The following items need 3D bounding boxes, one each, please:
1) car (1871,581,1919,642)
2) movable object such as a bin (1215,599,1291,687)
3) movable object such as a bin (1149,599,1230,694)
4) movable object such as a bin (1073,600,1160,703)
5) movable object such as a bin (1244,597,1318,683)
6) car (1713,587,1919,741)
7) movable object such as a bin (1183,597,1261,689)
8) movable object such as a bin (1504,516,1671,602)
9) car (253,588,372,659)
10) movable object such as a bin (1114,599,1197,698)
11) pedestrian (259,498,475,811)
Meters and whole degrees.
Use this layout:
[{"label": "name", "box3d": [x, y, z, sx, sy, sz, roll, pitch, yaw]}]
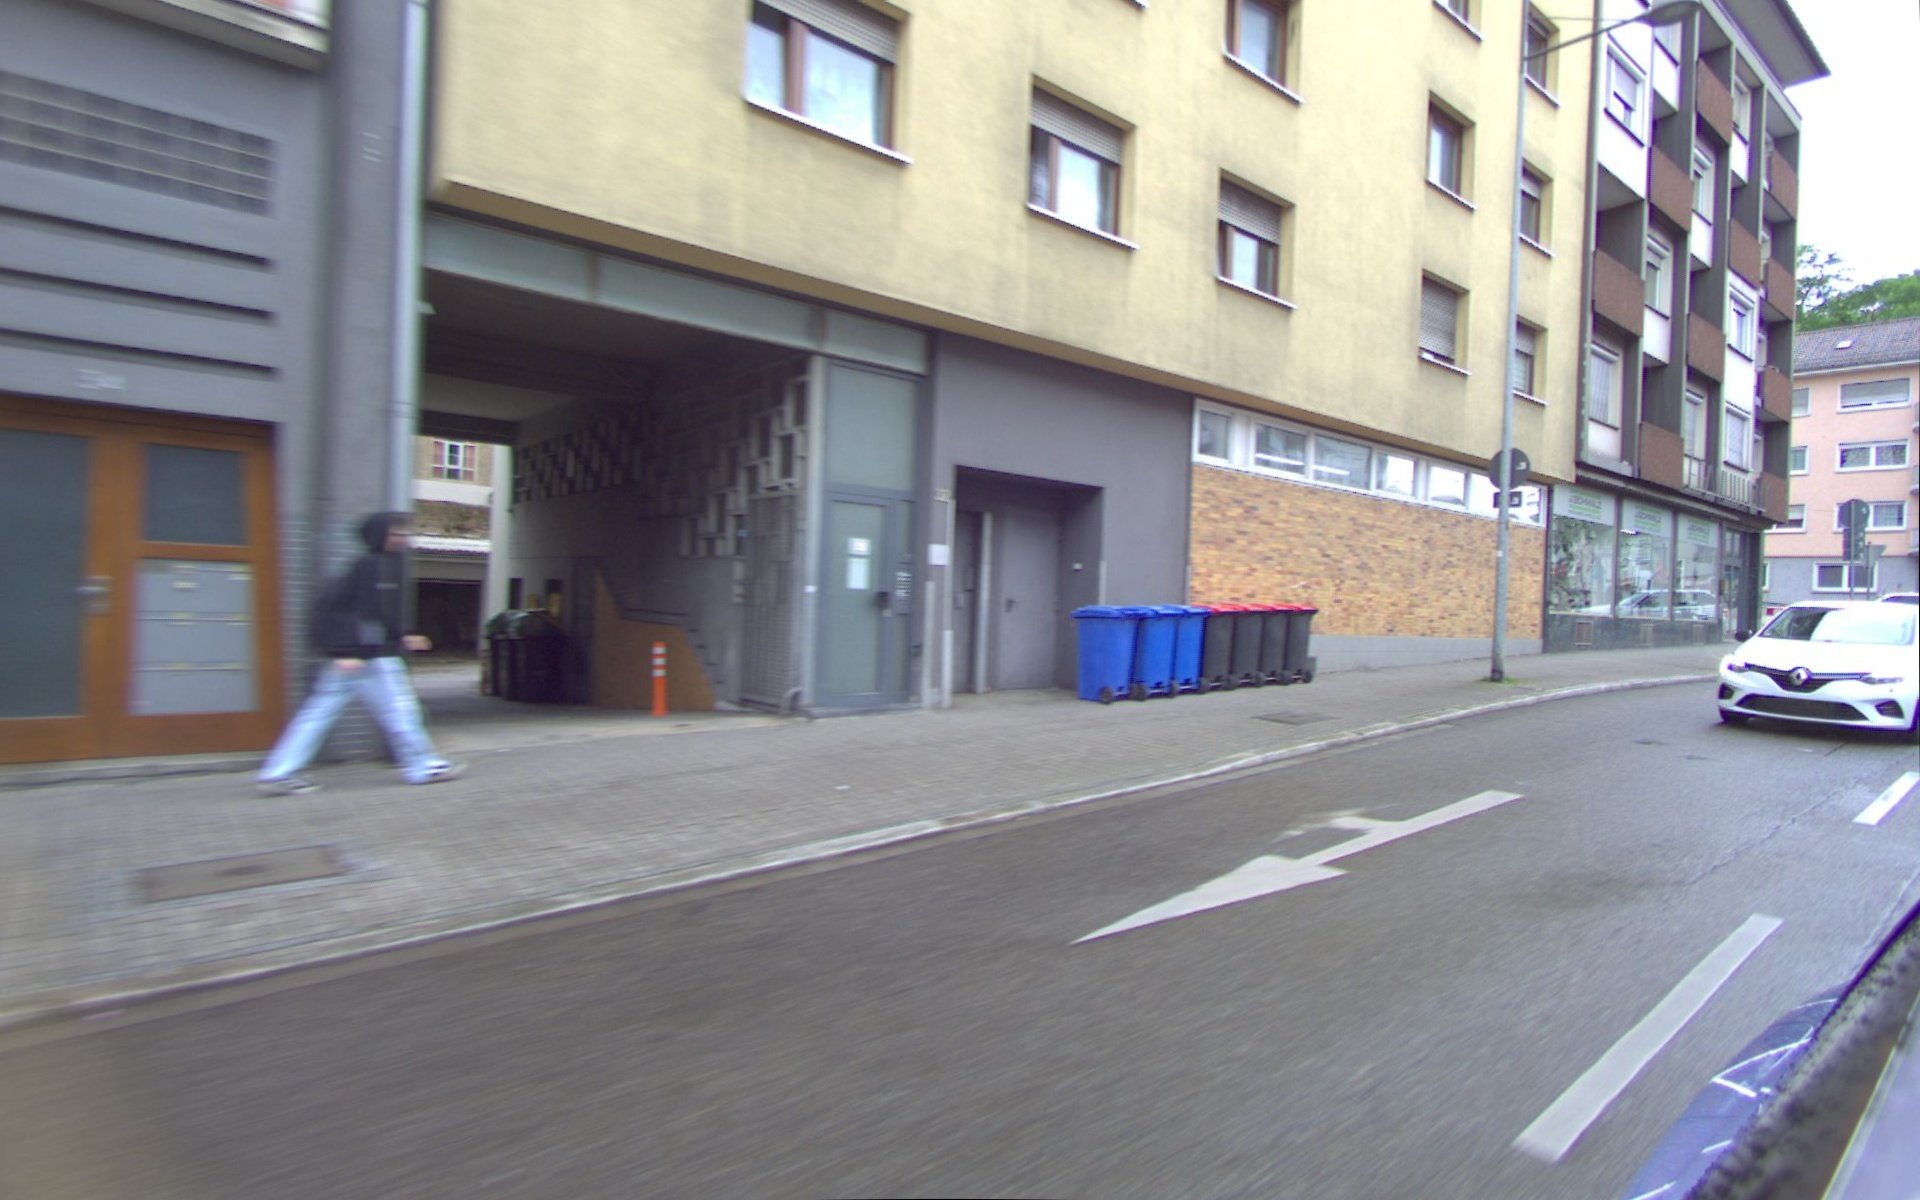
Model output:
[{"label": "car", "box3d": [29.033, 0.453, 28.711, 1.963, 1.741, 4.798, 3, 3, 2]}, {"label": "movable object such as a bin", "box3d": [3.813, 0.541, 13.183, 0.656, 1.090, 0.682, 1, 1, -41]}, {"label": "movable object such as a bin", "box3d": [2.794, 0.547, 12.305, 0.656, 1.090, 0.682, 1, 1, -41]}, {"label": "movable object such as a bin", "box3d": [1.761, 0.555, 11.417, 0.656, 1.090, 0.682, 1, 1, -41]}, {"label": "movable object such as a bin", "box3d": [4.320, 0.520, 13.630, 0.656, 1.090, 0.682, 1, 1, -41]}, {"label": "car", "box3d": [10.397, 0.633, 11.577, 3.924, 1.420, 1.682, 1, 2, -35]}, {"label": "movable object such as a bin", "box3d": [3.300, 0.526, 12.744, 0.656, 1.090, 0.682, 1, 1, -41]}, {"label": "movable object such as a bin", "box3d": [32.528, -2.202, 52.703, 2.694, 3.678, 6.536, 2, 6, -40]}, {"label": "car", "box3d": [-15.708, 0.522, 24.469, 1.964, 1.420, 3.997, 2, 1, -39]}, {"label": "movable object such as a bin", "box3d": [2.288, 0.547, 11.861, 0.656, 1.090, 0.682, 1, 1, -41]}, {"label": "pedestrian", "box3d": [-3.770, 0.317, 6.448, 1.075, 1.810, 0.674, 2, 0, -38]}]
